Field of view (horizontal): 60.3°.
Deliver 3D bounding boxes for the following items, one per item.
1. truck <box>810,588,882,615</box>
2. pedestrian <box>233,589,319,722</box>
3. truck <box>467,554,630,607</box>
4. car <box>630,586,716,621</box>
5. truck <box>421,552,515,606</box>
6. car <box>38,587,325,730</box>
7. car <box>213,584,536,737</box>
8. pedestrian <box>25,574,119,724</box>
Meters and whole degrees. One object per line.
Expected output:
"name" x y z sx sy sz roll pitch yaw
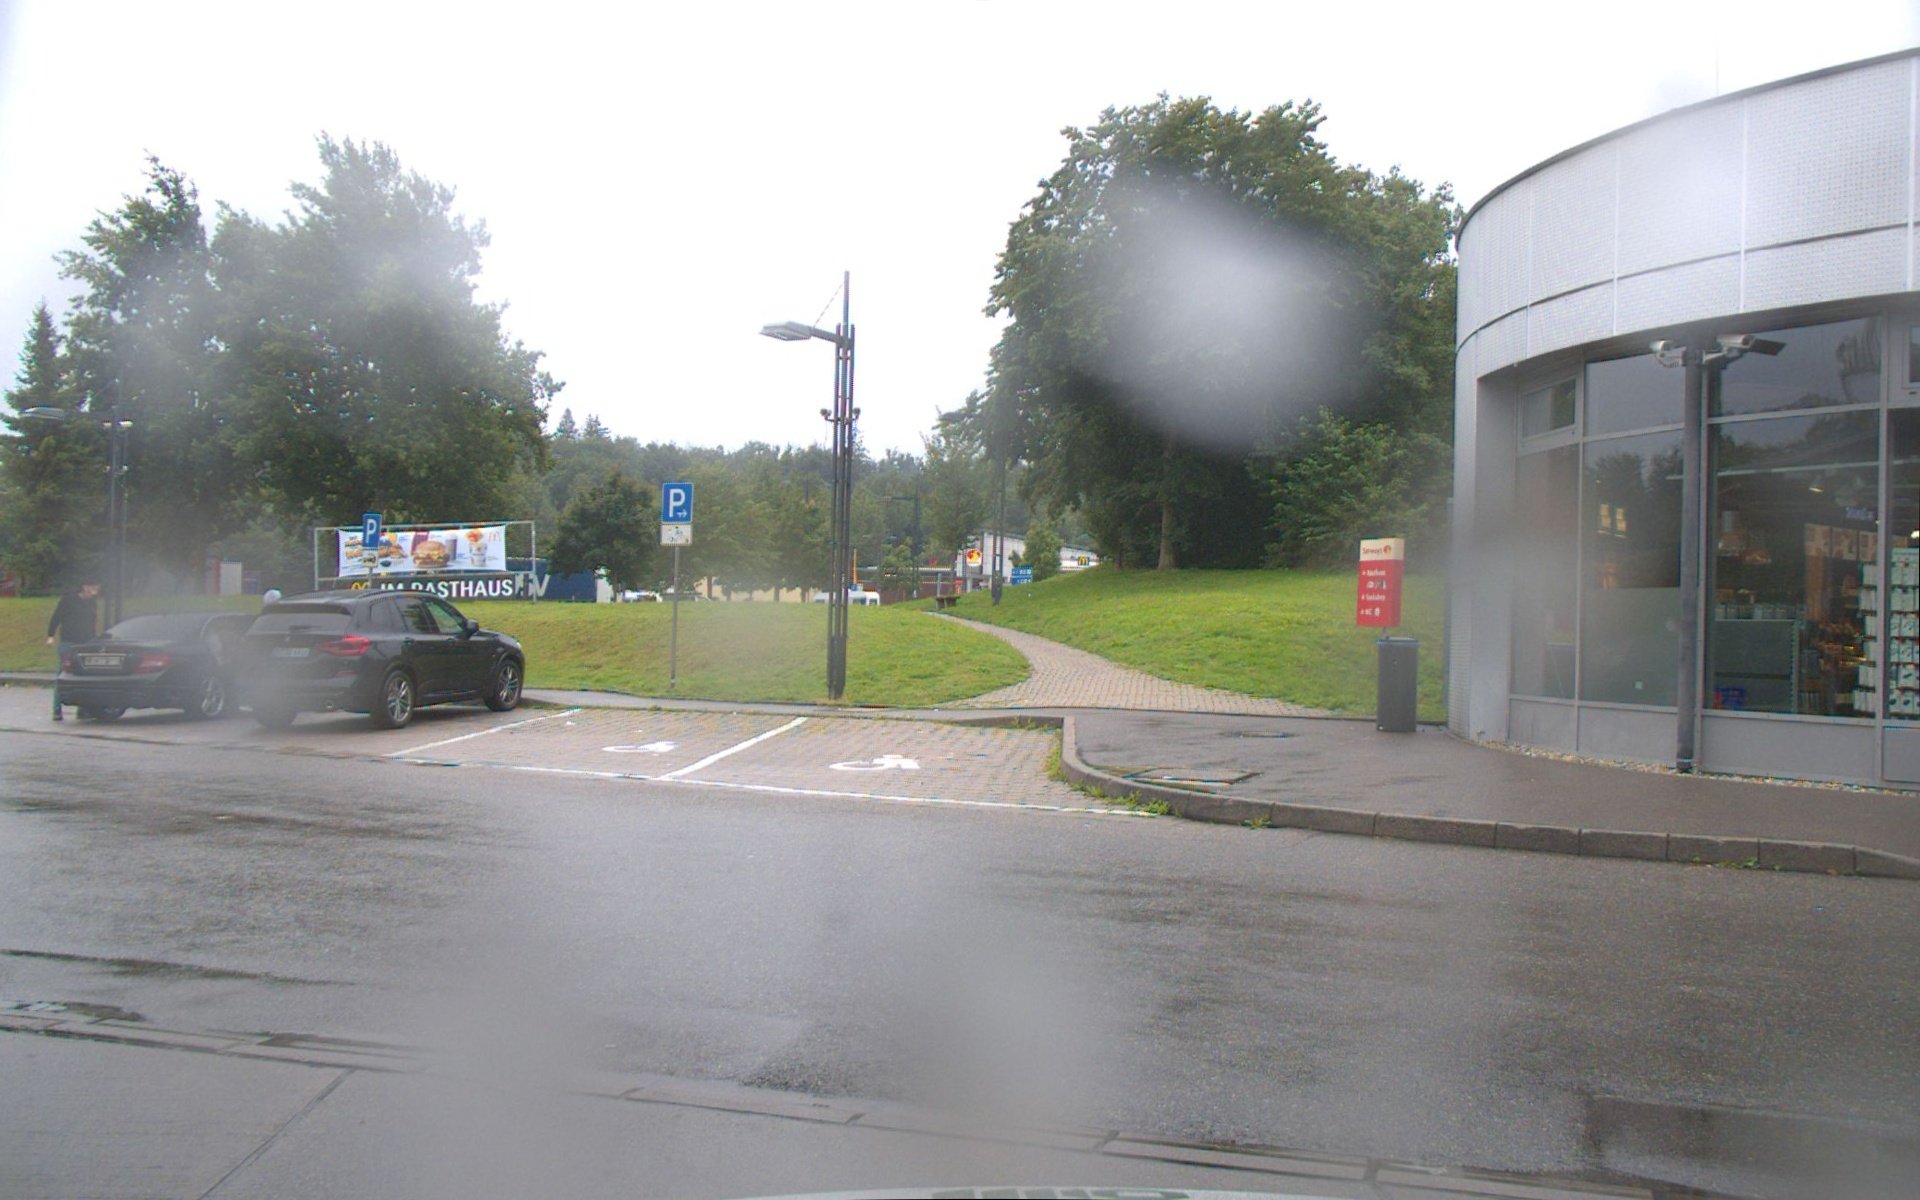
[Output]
"truck" -9.240 0.135 133.658 5.298 2.049 2.366 1 0 24
"pedestrian" -8.776 0.703 21.209 0.939 1.660 0.698 1 -1 -27
"truck" -24.937 -1.091 101.260 2.142 2.971 13.092 1 0 23
"car" -15.115 0.191 87.269 4.092 1.814 1.820 1 0 -37
"truck" -27.988 -1.174 94.245 2.142 2.971 5.384 1 0 24
"car" -10.581 0.718 22.880 1.976 1.741 4.342 -1 1 -2
"car" -7.373 0.691 21.362 1.973 1.741 4.347 -1 1 11
"pedestrian" -11.734 0.632 21.852 0.873 1.920 0.703 1 -1 28
